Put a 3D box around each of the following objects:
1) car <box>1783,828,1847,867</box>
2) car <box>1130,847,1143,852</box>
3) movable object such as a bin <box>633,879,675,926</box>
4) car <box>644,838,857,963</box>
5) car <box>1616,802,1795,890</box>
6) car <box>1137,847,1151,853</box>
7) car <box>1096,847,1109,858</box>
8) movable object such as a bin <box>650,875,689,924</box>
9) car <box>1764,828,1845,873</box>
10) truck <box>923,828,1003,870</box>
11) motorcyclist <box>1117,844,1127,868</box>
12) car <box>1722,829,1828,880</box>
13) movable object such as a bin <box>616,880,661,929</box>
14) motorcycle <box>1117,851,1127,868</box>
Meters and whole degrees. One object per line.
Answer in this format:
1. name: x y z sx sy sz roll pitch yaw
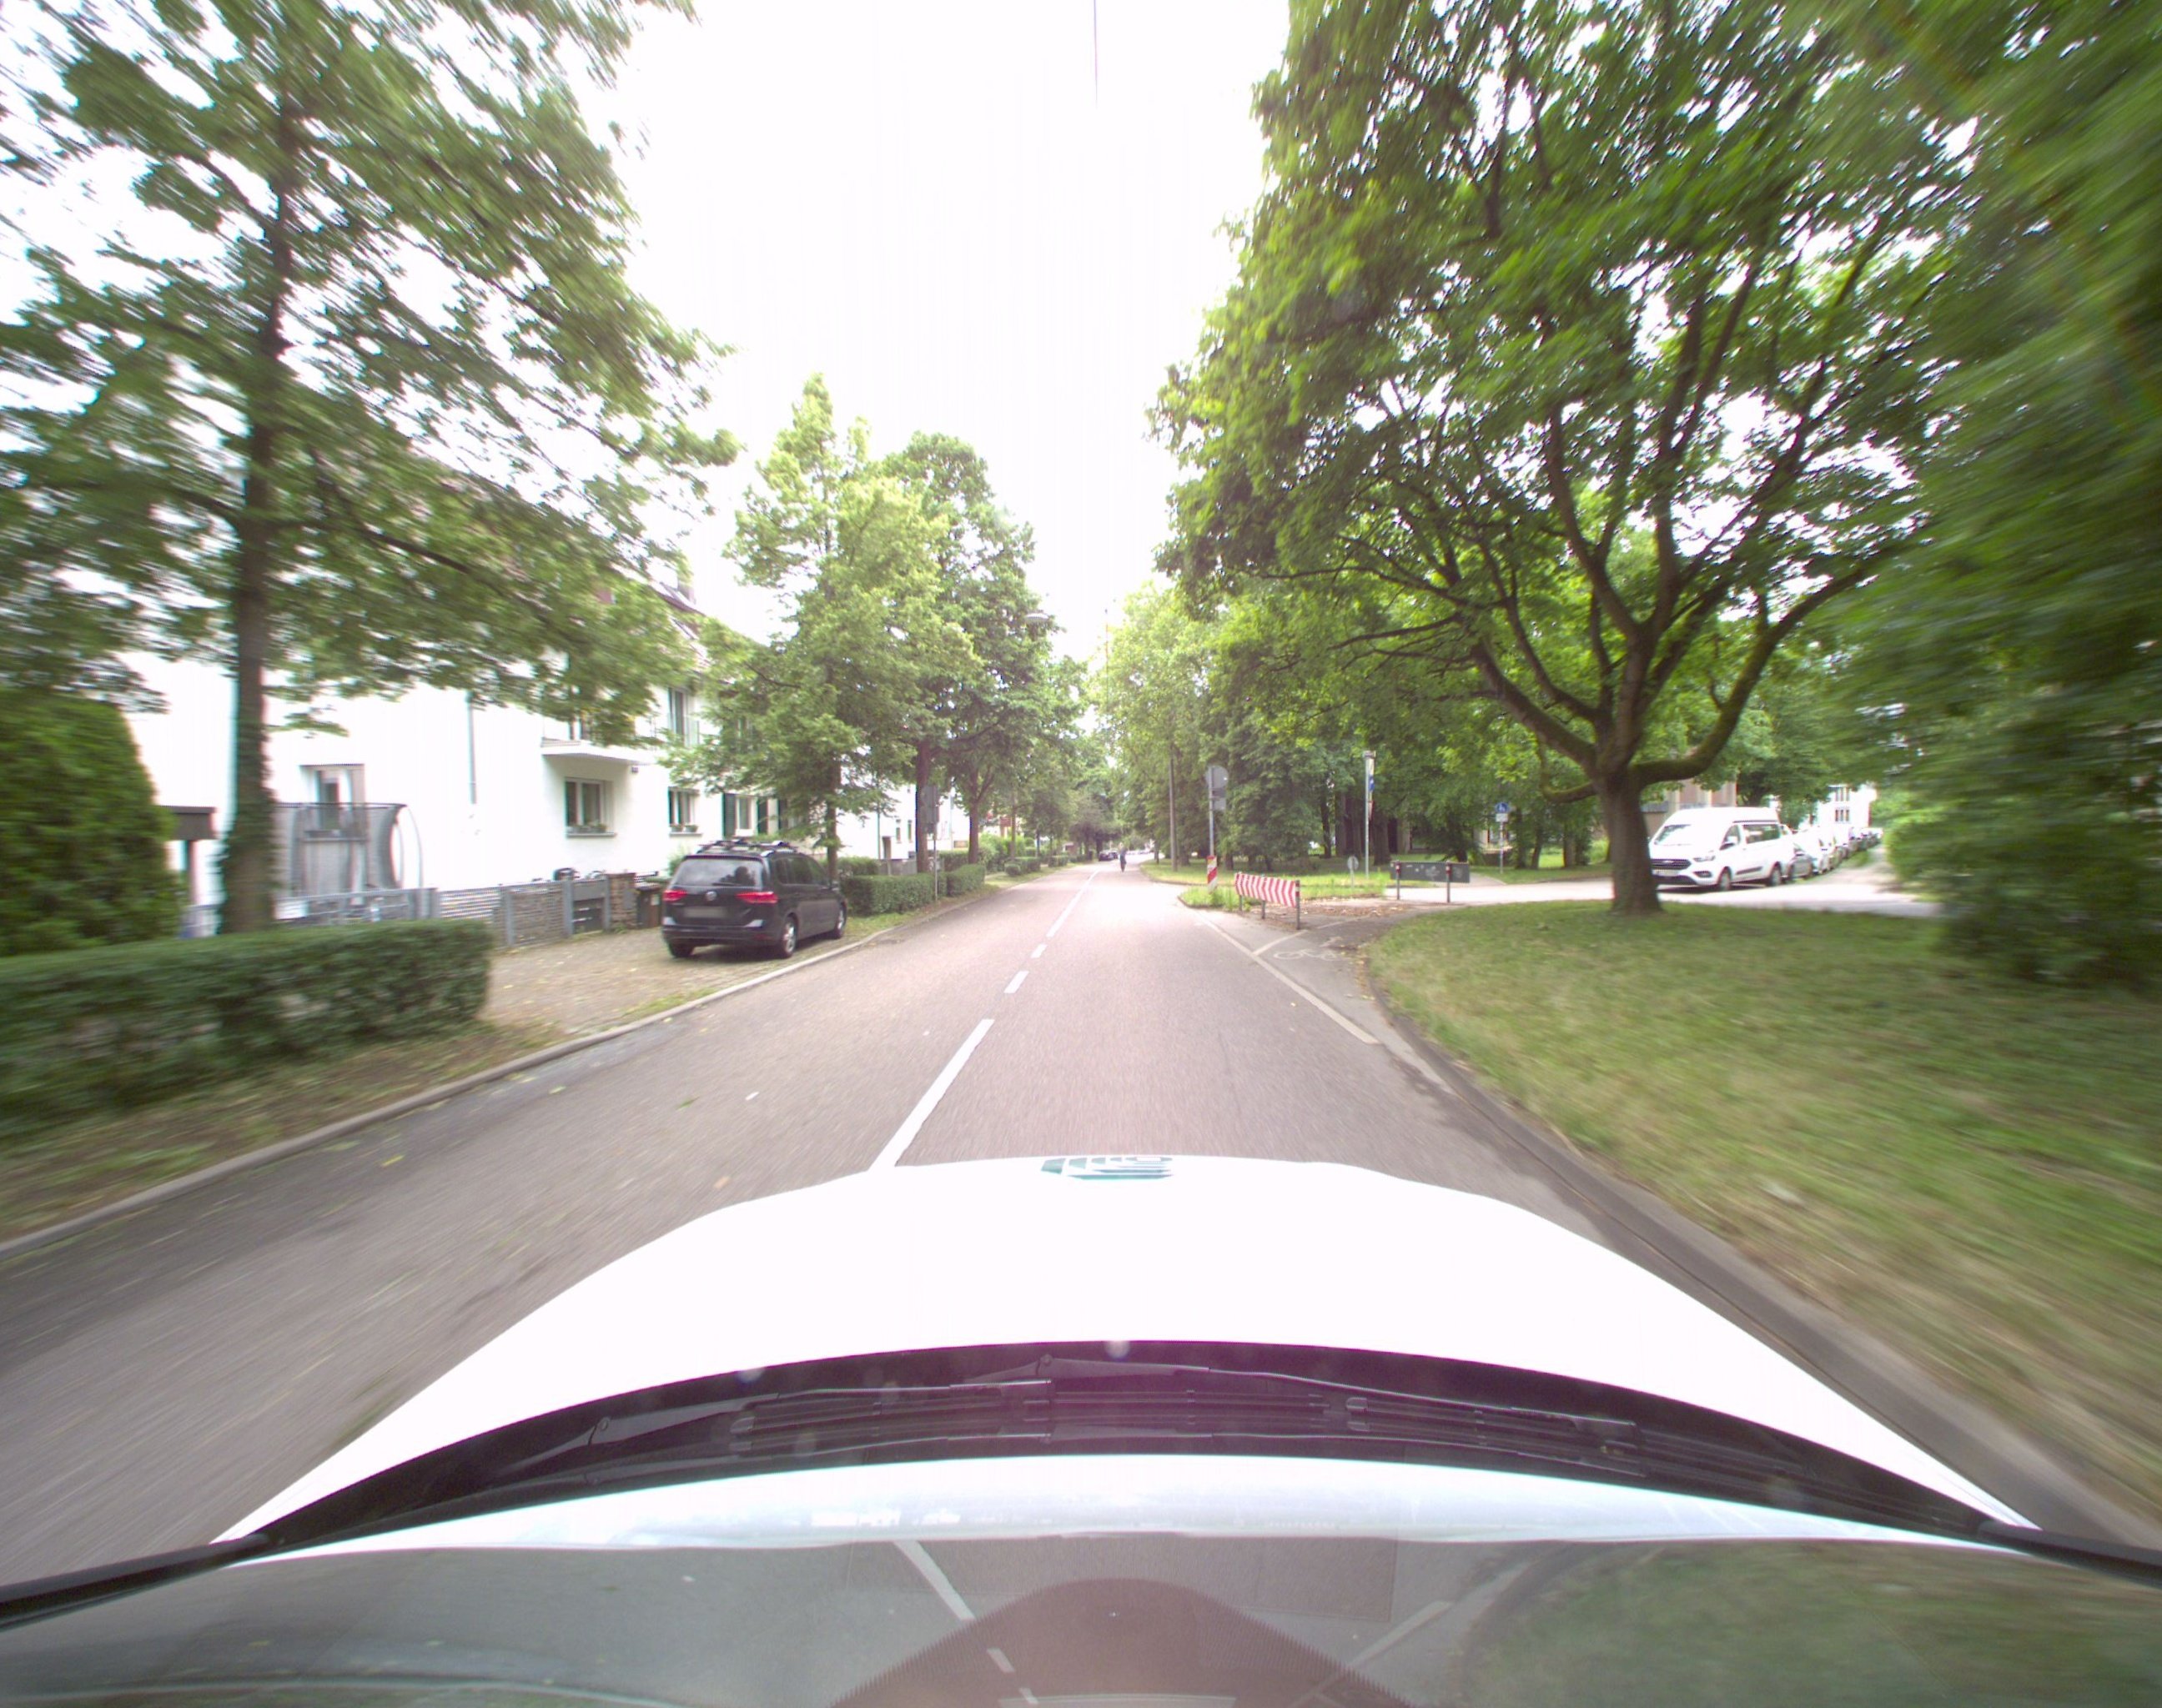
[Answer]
1. car: 30.488 -0.300 33.801 1.778 1.510 4.024 -1 1 45
2. car: 16.754 -1.358 245.586 3.971 1.510 1.801 -2 0 2
3. movable object such as a bin: -9.037 1.023 17.249 0.558 0.940 0.640 -2 0 -4
4. car: -5.271 0.642 13.724 1.820 1.754 4.451 -1 0 -1
5. car: 18.100 -0.273 23.548 5.343 2.299 2.270 -2 1 -31
6. car: 17.944 -1.238 232.813 3.971 1.510 1.801 -2 0 2
7. car: 3.241 -0.211 121.123 1.787 1.472 4.421 -2 0 3
8. movable object such as a bin: -9.043 0.990 17.910 0.558 1.025 0.601 -2 0 -4
9. car: 26.530 -0.154 29.808 4.629 1.510 1.778 -2 1 -43
10. truck: -9.235 -0.394 64.163 5.774 3.131 2.519 -1 0 1
11. motorcyclist: 3.025 0.113 60.030 0.669 1.761 0.640 0 0 6
12. car: 22.496 -0.008 26.341 4.019 1.510 1.780 -2 1 -37
13. movable object such as a bin: -8.992 1.023 16.568 0.558 0.940 0.640 -2 0 -4
14. motorcycle: 3.010 0.405 59.897 0.669 1.217 1.276 0 0 6
